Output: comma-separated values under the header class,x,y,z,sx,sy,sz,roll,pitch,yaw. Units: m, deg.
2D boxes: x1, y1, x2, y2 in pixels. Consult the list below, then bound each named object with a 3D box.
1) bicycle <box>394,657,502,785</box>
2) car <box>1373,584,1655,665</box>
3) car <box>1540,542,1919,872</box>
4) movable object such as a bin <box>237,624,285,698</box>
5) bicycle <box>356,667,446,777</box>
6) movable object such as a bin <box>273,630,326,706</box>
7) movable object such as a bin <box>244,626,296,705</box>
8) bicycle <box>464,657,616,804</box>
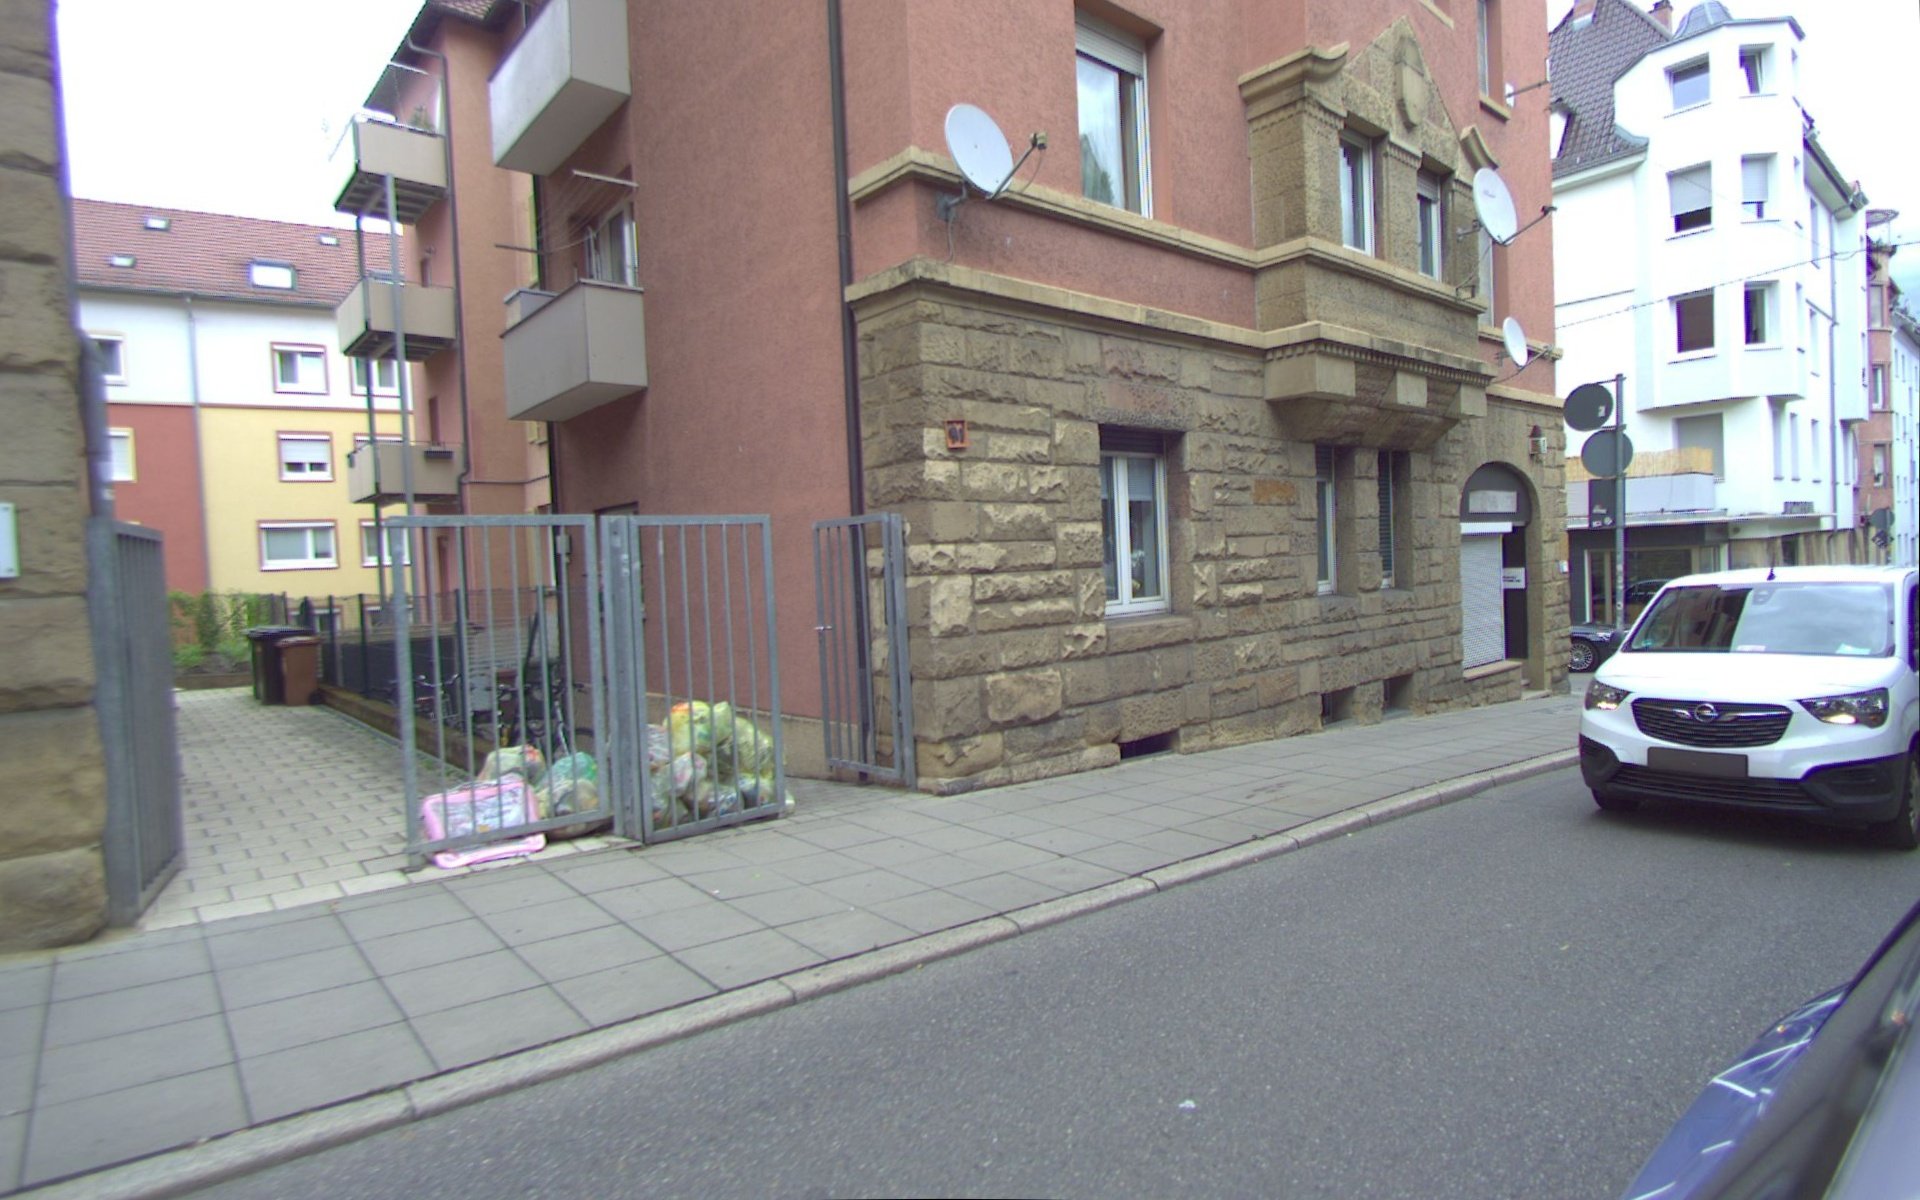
class,x,y,z,sx,sy,sz,roll,pitch,yaw
bicycle,-5.537,1.296,10.881,0.542,1.226,1.924,-1,-5,-41
car,12.346,0.597,22.822,5.125,1.570,2.203,-4,-1,45
car,6.655,0.522,7.915,4.929,1.848,1.854,-3,0,-37
movable object such as a bin,-10.421,0.891,15.088,0.510,1.044,0.459,-3,1,-43
bicycle,-6.964,1.508,12.560,0.542,1.226,1.924,-1,-5,-41
movable object such as a bin,-9.066,0.921,13.897,0.510,0.971,0.459,-3,1,-43
movable object such as a bin,-9.598,0.896,14.069,0.510,1.044,0.459,-3,1,-43
bicycle,-3.542,1.072,8.426,0.542,1.056,1.924,-1,-5,-41
